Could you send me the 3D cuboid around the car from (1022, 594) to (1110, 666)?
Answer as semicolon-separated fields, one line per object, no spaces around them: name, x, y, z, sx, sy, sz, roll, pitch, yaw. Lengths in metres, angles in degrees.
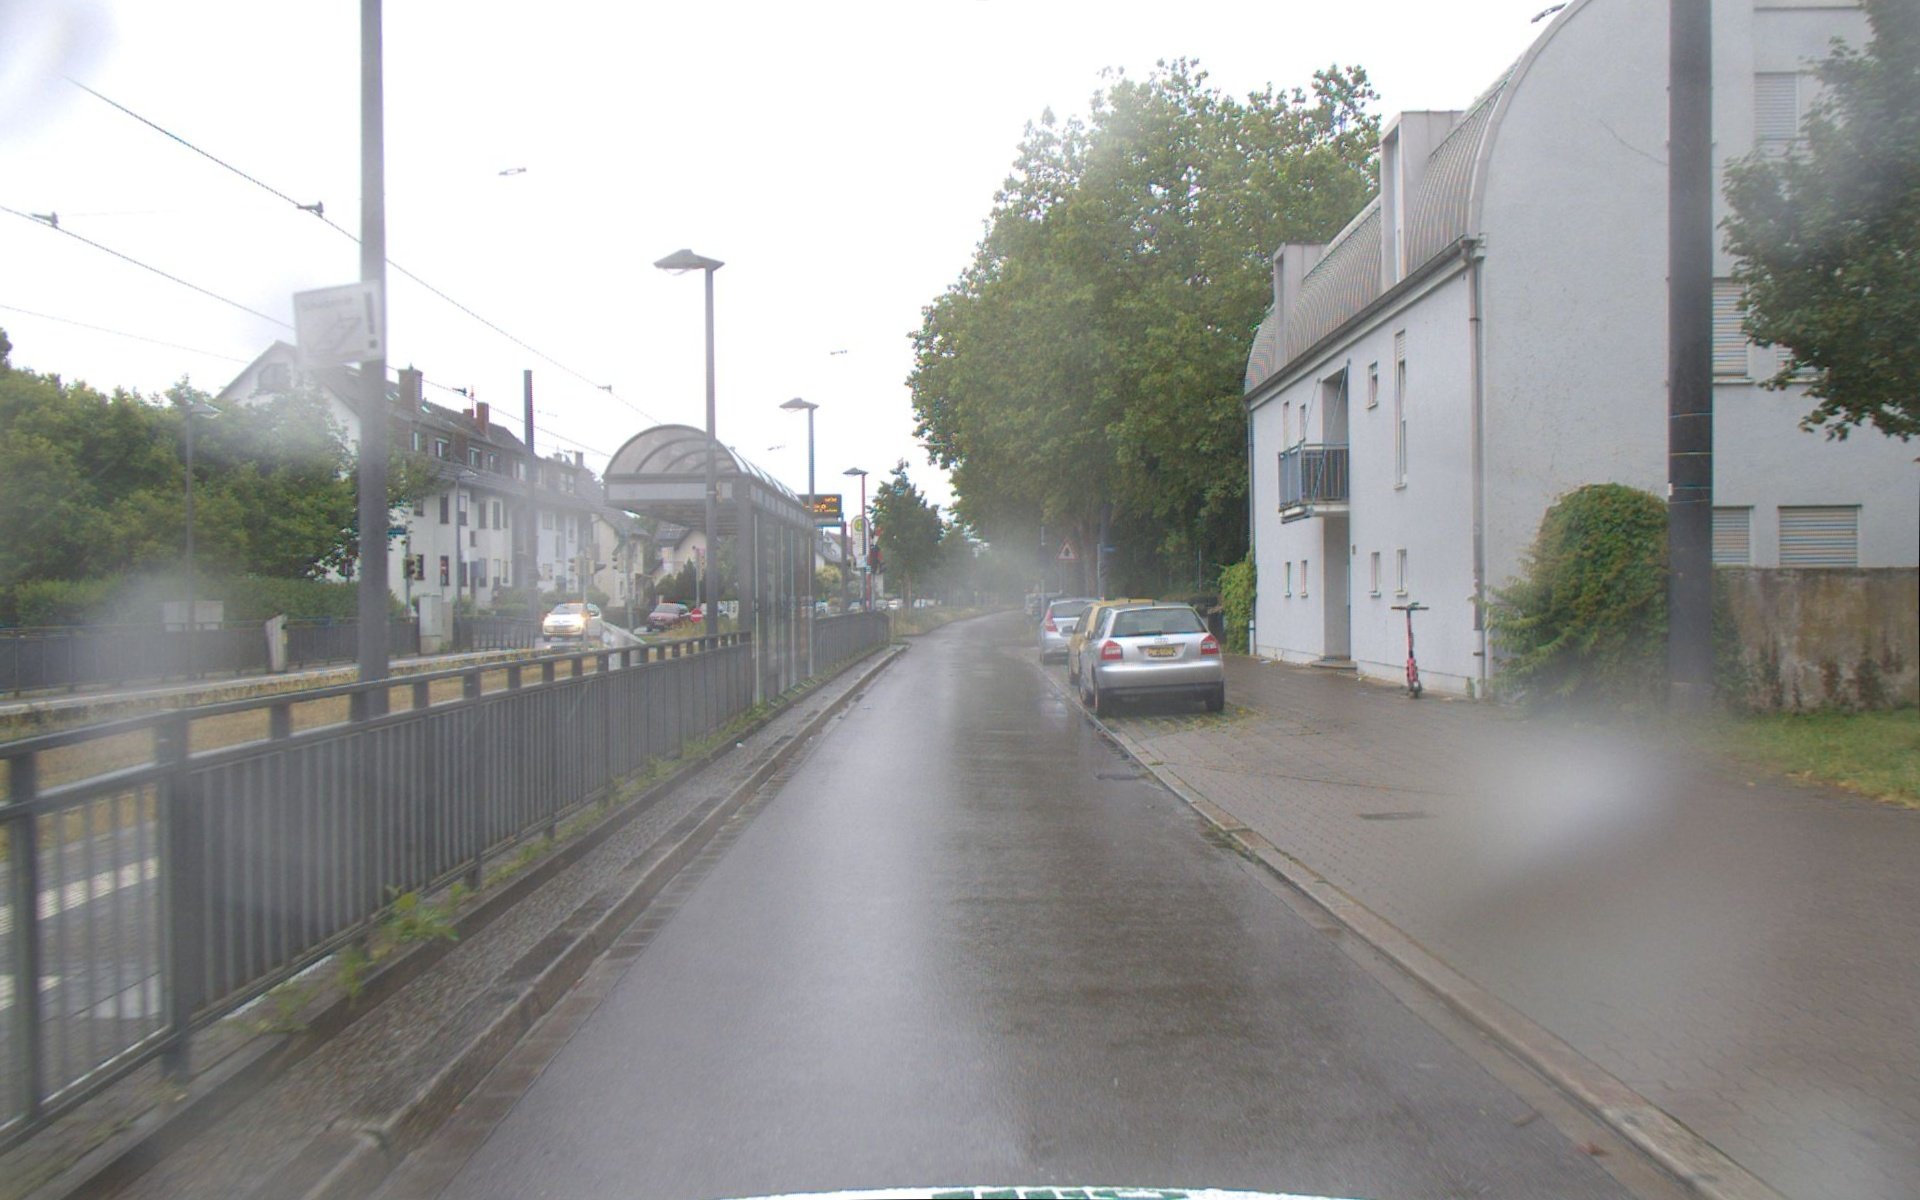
car;2.436;0.702;38.795;1.770;1.493;3.793;-4;-1;0

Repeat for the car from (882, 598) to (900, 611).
car;-8.746;0.575;210.296;1.888;1.512;4.001;0;-1;3

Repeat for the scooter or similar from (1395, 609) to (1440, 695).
scooter or similar;6.072;0.674;21.994;0.326;1.104;1.396;0;-1;5

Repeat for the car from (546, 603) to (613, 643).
car;-14.812;0.907;64.534;1.599;1.519;4.000;0;-1;1

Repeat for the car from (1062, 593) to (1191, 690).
car;2.771;0.700;28.323;1.770;1.430;3.793;-4;-1;0

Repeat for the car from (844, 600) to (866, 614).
car;-11.207;0.758;176.494;1.888;1.512;4.001;0;-1;3

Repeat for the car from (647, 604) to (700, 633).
car;-15.086;0.975;87.273;1.888;1.512;4.001;0;-1;3

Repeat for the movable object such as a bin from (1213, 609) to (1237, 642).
movable object such as a bin;7.641;0.721;47.707;0.525;0.914;0.738;-3;-1;-1

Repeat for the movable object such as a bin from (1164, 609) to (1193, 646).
movable object such as a bin;6.396;0.800;48.492;0.678;1.040;0.824;-3;-1;-1

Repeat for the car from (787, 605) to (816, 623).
car;-13.553;1.234;141.906;1.888;1.512;4.001;0;-1;3

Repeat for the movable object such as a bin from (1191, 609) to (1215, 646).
movable object such as a bin;7.022;0.799;47.840;0.525;1.040;0.738;-3;-1;-1

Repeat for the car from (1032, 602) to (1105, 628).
car;6.384;0.904;97.669;3.920;1.478;1.992;1;-1;-15

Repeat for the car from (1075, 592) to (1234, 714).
car;2.605;0.702;23.074;1.616;1.430;4.649;-4;-1;0

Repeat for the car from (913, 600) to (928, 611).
car;-5.732;0.851;240.417;1.888;1.512;4.001;0;-1;3

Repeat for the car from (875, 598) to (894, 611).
car;-9.022;0.586;198.539;1.888;1.512;4.001;0;-1;3

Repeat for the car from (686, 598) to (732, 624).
car;-14.796;0.674;97.717;1.888;1.512;4.001;0;-1;3
